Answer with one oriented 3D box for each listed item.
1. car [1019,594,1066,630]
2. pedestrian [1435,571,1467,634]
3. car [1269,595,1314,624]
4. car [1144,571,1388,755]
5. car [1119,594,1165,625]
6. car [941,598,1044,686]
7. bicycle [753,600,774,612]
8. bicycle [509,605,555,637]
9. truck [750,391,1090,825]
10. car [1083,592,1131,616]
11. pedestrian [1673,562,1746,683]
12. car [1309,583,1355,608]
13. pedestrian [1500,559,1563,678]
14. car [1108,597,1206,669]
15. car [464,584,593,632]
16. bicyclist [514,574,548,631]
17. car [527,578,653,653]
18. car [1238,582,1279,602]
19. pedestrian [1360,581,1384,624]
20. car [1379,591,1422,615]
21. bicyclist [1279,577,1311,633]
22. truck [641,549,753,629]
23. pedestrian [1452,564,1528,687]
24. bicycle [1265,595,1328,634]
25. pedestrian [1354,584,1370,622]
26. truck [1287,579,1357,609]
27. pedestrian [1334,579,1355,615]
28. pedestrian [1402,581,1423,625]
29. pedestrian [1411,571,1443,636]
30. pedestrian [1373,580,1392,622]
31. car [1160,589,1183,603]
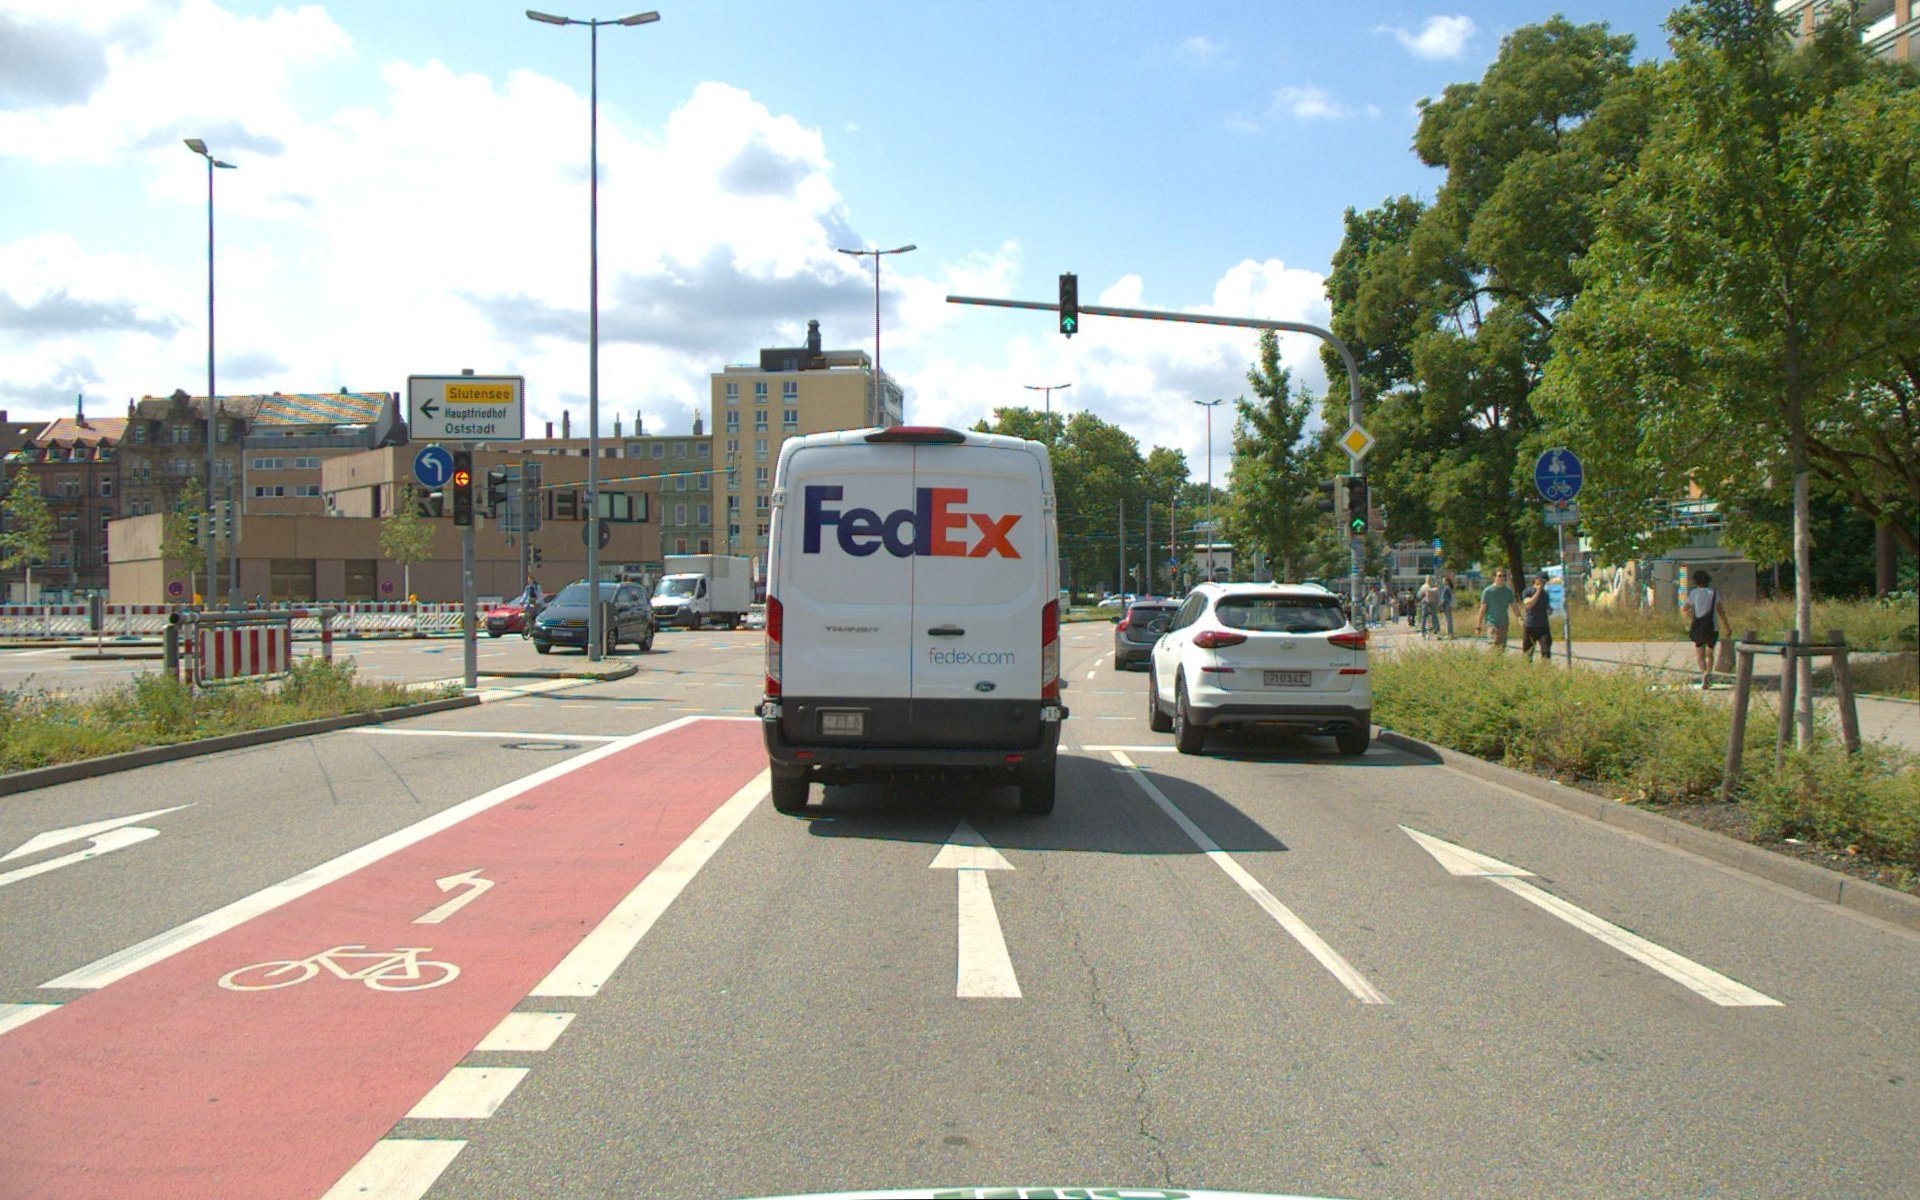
[{"bbox_3d":[4.993,0.721,99.204,1.951,2.049,4.125,1,-1,16],"label":"car"},{"bbox_3d":[14.133,0.075,47.614,0.734,1.783,0.610,-2,0,5],"label":"pedestrian"},{"bbox_3d":[20.230,0.578,100.808,1.844,1.670,3.954,0,0,25],"label":"car"},{"bbox_3d":[3.043,0.562,17.287,1.842,1.670,4.233,-1,0,1],"label":"car"},{"bbox_3d":[9.321,0.454,84.318,1.841,1.532,4.159,1,1,13],"label":"car"},{"bbox_3d":[0.599,0.695,29.649,1.705,1.416,4.180,-1,0,1],"label":"car"},{"bbox_3d":[-19.170,0.554,161.343,1.899,1.167,0.528,1,-1,11],"label":"bicycle"},{"bbox_3d":[-12.663,0.616,48.960,0.760,0.905,2.109,-1,0,1],"label":"bicycle"},{"bbox_3d":[-0.300,0.053,13.259,2.093,2.686,5.916,1,0,-1],"label":"truck"},{"bbox_3d":[12.646,0.352,142.267,3.987,1.959,1.811,1,-1,11],"label":"car"},{"bbox_3d":[10.369,0.299,22.889,0.653,1.624,0.647,-2,0,-2],"label":"pedestrian"},{"bbox_3d":[25.594,-0.322,113.732,1.848,1.670,3.946,0,1,33],"label":"car"},{"bbox_3d":[8.751,0.279,25.334,0.654,1.777,0.608,-2,0,-8],"label":"pedestrian"},{"bbox_3d":[4.227,0.677,35.968,1.875,1.444,3.920,-1,0,3],"label":"car"},{"bbox_3d":[-14.319,0.259,55.078,1.957,1.512,3.897,-1,0,31],"label":"car"},{"bbox_3d":[-12.673,0.064,48.885,0.760,1.647,0.843,-1,0,1],"label":"bicyclist"},{"bbox_3d":[-8.641,0.329,38.999,1.842,1.652,4.157,0,1,3],"label":"car"},{"bbox_3d":[29.058,-0.812,161.161,1.693,1.832,4.711,-2,0,42],"label":"car"},{"bbox_3d":[17.964,0.109,72.070,0.740,1.853,0.780,-4,-1,0],"label":"pedestrian"},{"bbox_3d":[31.637,0.209,118.771,1.848,1.670,3.946,0,1,33],"label":"car"},{"bbox_3d":[10.119,0.161,50.020,0.810,1.629,0.580,-3,-1,5],"label":"bicyclist"},{"bbox_3d":[-10.733,-0.406,68.178,1.951,3.121,7.336,1,-1,12],"label":"truck"},{"bbox_3d":[8.062,0.376,25.182,0.735,1.808,0.880,-2,0,-8],"label":"pedestrian"},{"bbox_3d":[10.172,0.450,50.009,1.771,1.068,0.592,-3,-1,5],"label":"bicycle"},{"bbox_3d":[18.036,0.139,74.220,0.575,1.654,0.728,1,-1,6],"label":"pedestrian"},{"bbox_3d":[35.248,-0.607,160.906,2.842,2.902,8.744,-1,0,40],"label":"truck"},{"bbox_3d":[17.419,-0.124,74.924,0.740,1.617,0.761,1,-1,0],"label":"pedestrian"},{"bbox_3d":[19.086,0.137,69.805,0.740,1.853,0.674,1,-1,8],"label":"pedestrian"},{"bbox_3d":[13.338,0.091,47.276,0.734,1.834,0.610,-2,0,5],"label":"pedestrian"},{"bbox_3d":[18.901,0.049,74.053,0.740,1.853,0.638,1,-1,6],"label":"pedestrian"},{"bbox_3d":[26.306,-0.461,205.271,1.952,1.601,4.179,1,-1,20],"label":"car"}]
